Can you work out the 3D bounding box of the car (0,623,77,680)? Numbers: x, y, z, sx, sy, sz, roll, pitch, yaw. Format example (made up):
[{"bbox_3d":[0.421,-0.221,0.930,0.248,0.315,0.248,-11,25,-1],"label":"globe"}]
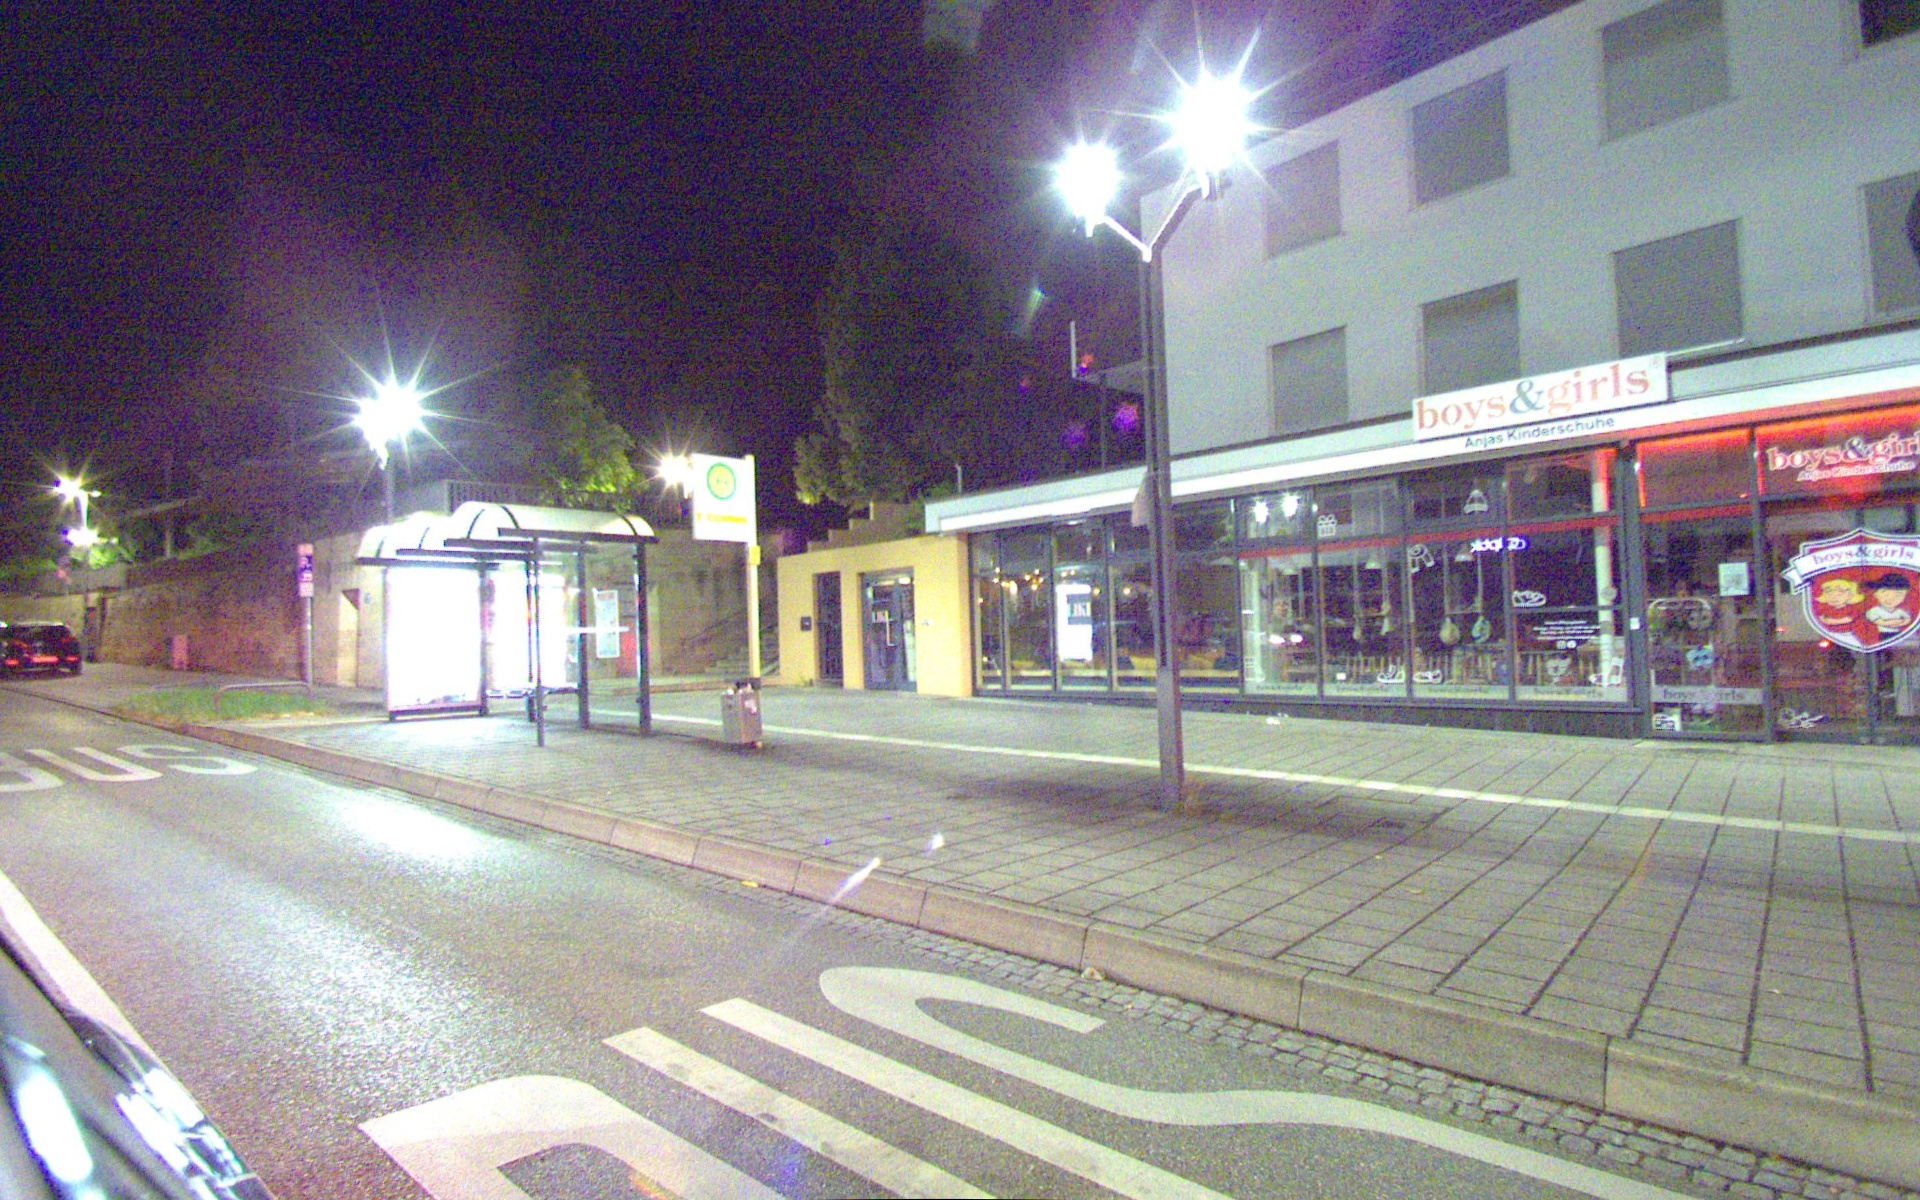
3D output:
[{"bbox_3d":[-26.643,1.422,28.724,4.123,1.447,1.675,-1,0,39],"label":"car"}]
